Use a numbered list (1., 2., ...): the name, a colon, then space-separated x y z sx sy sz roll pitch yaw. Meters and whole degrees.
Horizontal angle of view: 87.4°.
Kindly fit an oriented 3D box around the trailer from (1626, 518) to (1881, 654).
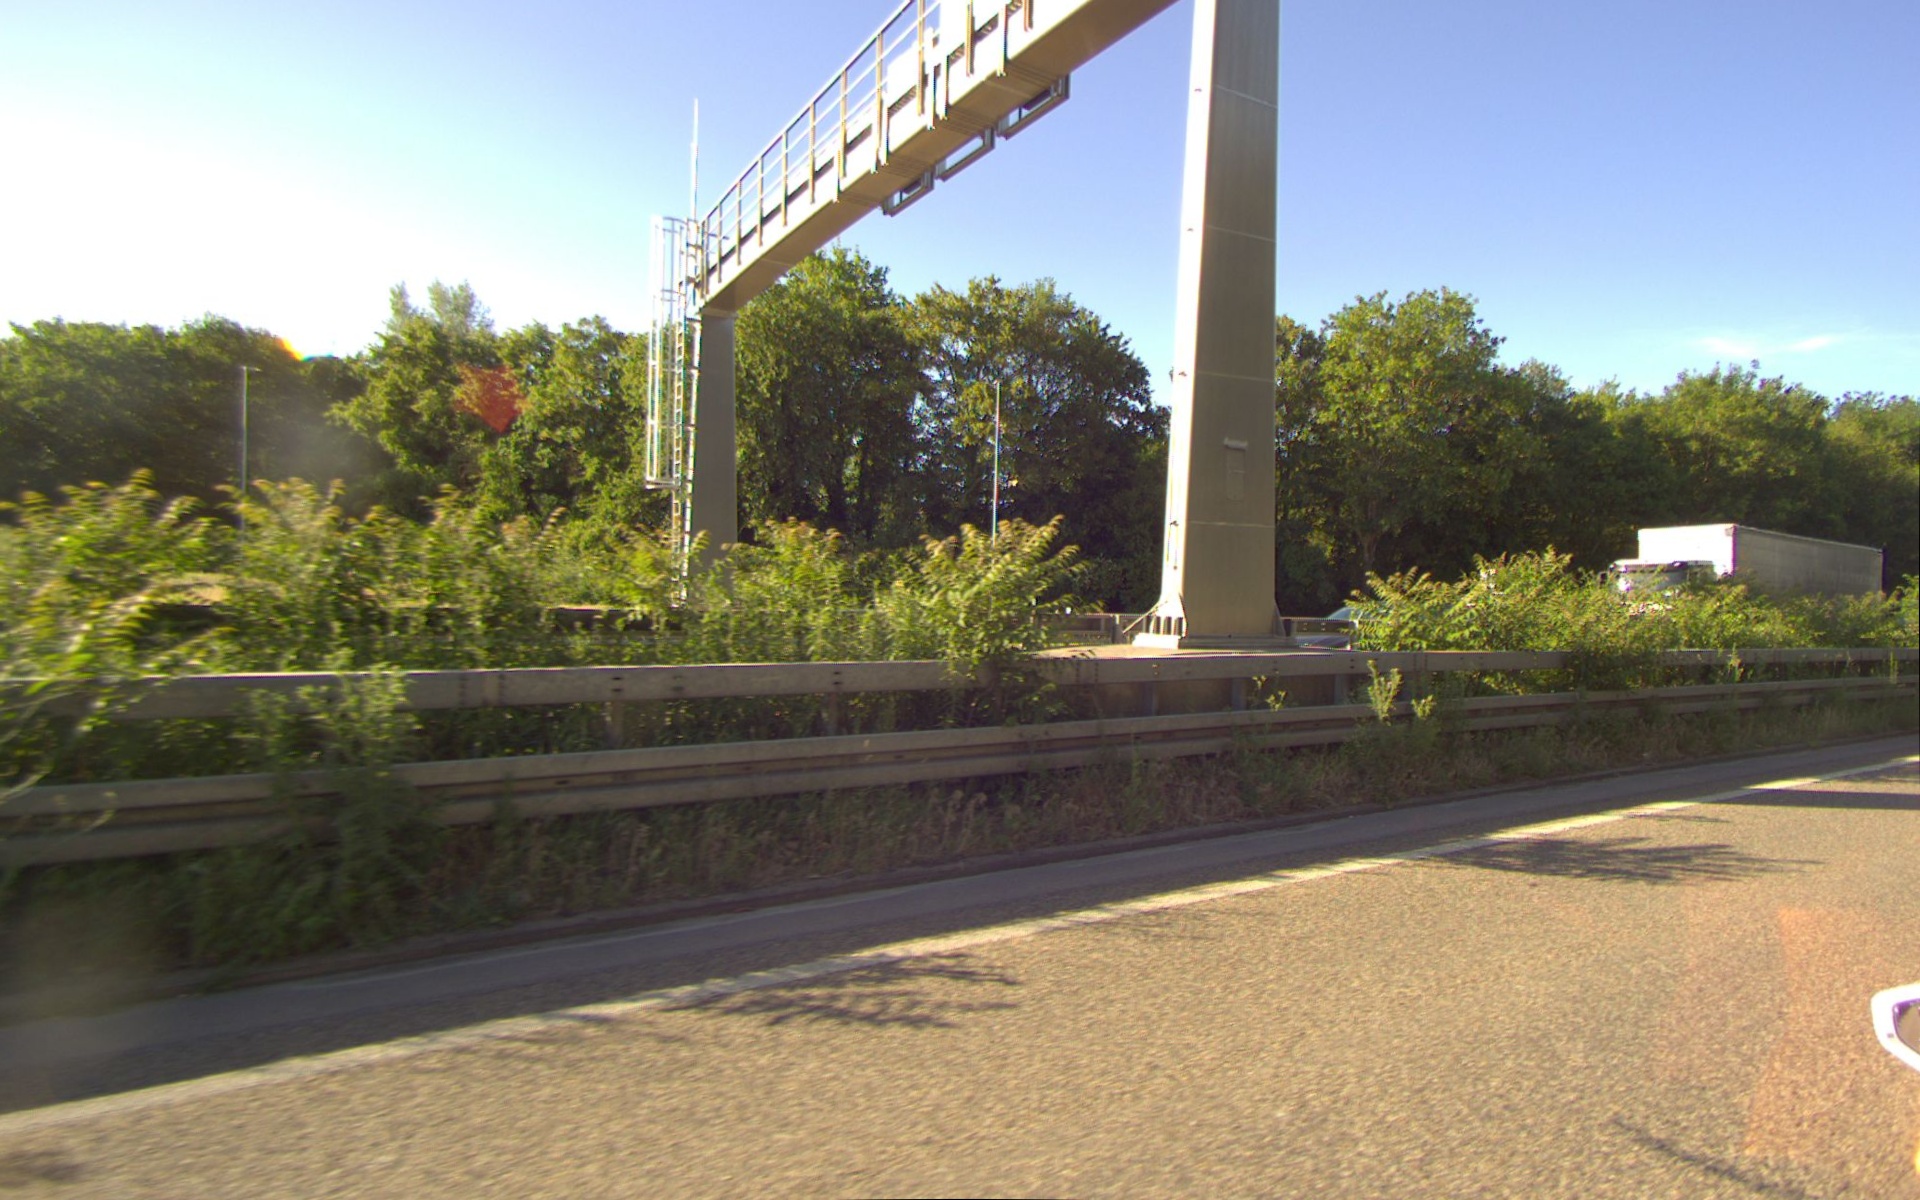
1. trailer: 27.973 -0.321 34.973 13.925 4.081 2.722 1 1 -34

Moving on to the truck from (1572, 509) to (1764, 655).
1. truck: 21.789 -0.470 30.849 6.114 4.081 2.722 1 1 -33

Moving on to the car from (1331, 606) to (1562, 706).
1. car: 8.376 0.887 17.211 3.957 1.490 1.794 1 0 -33
